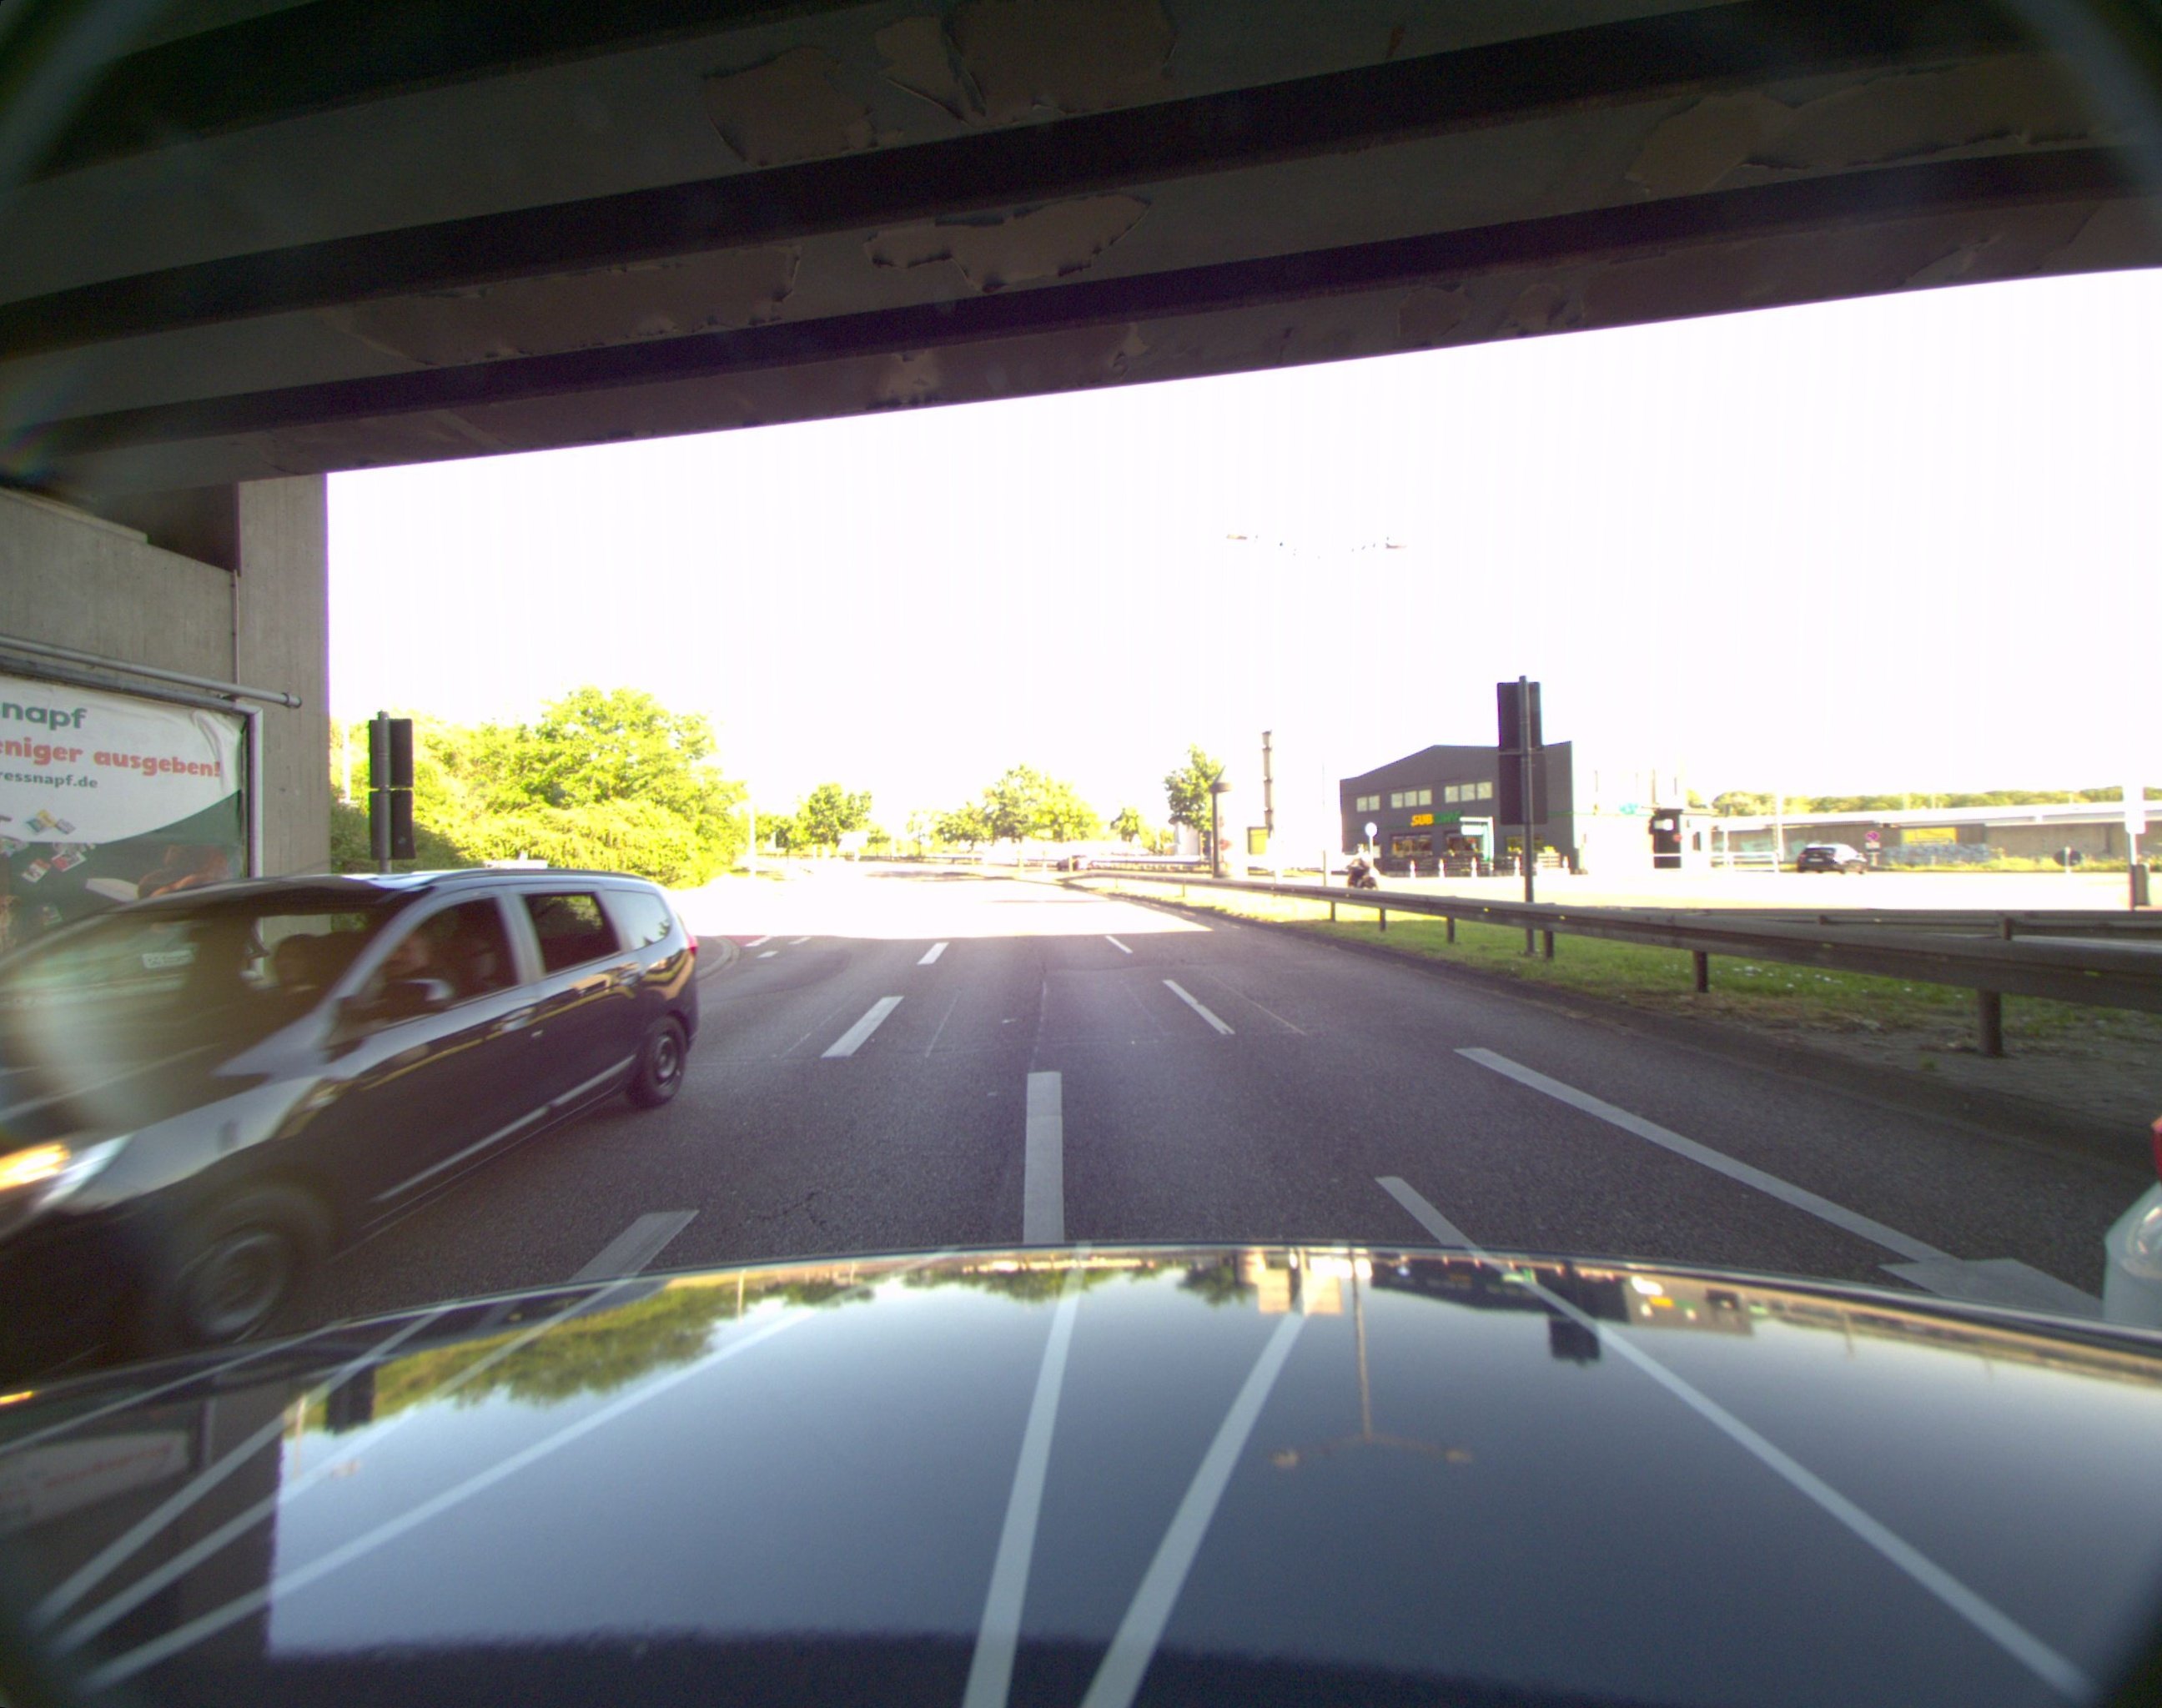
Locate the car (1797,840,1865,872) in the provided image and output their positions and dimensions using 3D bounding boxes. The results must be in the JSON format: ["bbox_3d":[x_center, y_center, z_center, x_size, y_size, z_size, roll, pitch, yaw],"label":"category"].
[{"bbox_3d":[38.402,0.095,38.890,4.007,1.434,1.878,-3,1,-37],"label":"car"}]

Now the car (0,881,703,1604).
[{"bbox_3d":[-3.621,1.044,3.520,1.779,1.591,4.103,-3,1,-3],"label":"car"}]

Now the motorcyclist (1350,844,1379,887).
[{"bbox_3d":[10.151,0.416,27.244,0.699,1.518,0.697,-1,0,-9],"label":"motorcyclist"}]

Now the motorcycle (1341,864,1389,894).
[{"bbox_3d":[10.154,0.869,27.279,0.695,1.021,2.007,-2,0,-9],"label":"motorcycle"}]

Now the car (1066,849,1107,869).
[{"bbox_3d":[0.456,0.428,67.707,1.859,1.607,4.356,-3,1,-25],"label":"car"}]
